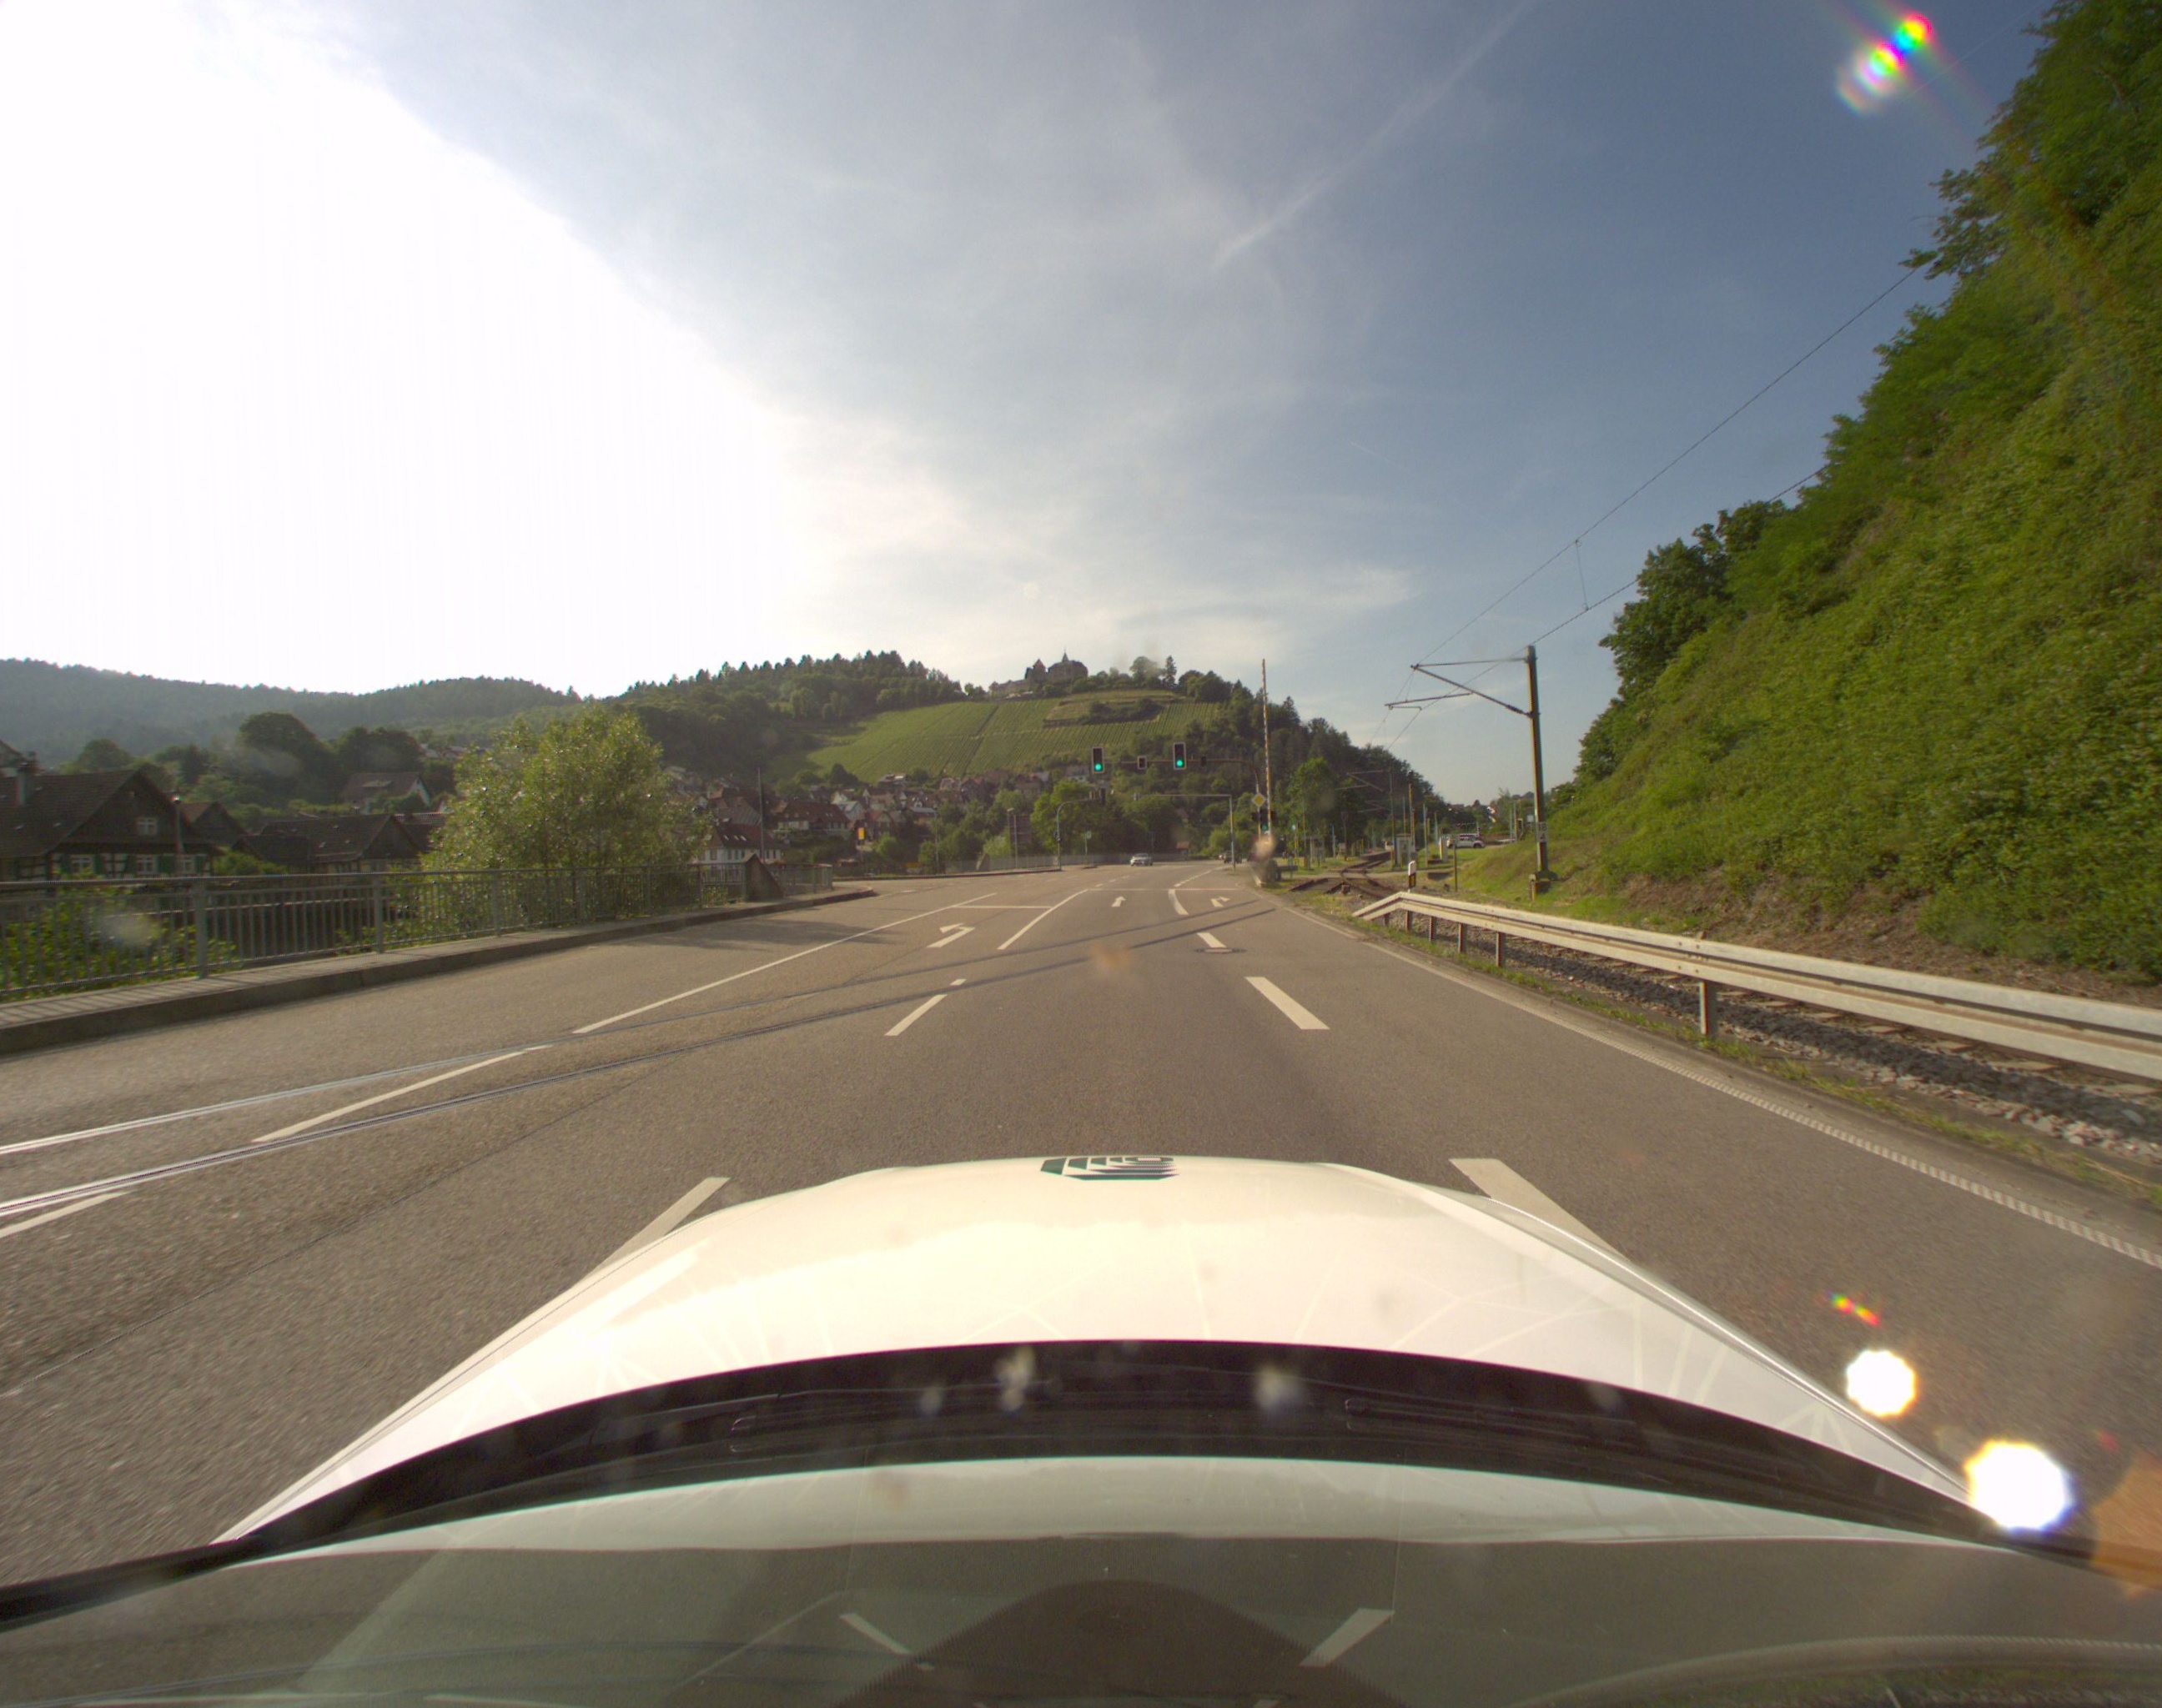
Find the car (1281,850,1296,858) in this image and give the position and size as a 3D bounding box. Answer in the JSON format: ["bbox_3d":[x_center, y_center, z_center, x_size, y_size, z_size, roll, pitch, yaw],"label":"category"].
[{"bbox_3d":[37.686,-0.035,147.902,1.790,1.453,3.668,-4,-1,25],"label":"car"}]

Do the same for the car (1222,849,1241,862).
[{"bbox_3d":[17.893,0.160,96.803,1.714,1.457,3.427,-3,-1,19],"label":"car"}]

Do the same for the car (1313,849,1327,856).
[{"bbox_3d":[49.360,-0.290,168.221,1.791,1.408,3.797,-4,-1,29],"label":"car"}]

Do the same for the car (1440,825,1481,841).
[{"bbox_3d":[50.712,-2.807,108.896,4.907,1.943,2.153,-2,0,23],"label":"car"}]

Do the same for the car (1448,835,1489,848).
[{"bbox_3d":[44.045,-1.404,92.616,4.059,1.398,1.820,-2,0,23],"label":"car"}]

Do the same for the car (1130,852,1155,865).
[{"bbox_3d":[6.363,0.443,84.458,1.632,1.231,4.113,-1,0,18],"label":"car"}]

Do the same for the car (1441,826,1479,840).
[{"bbox_3d":[53.840,-2.987,115.749,4.907,1.690,1.947,-2,0,23],"label":"car"}]

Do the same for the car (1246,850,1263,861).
[{"bbox_3d":[24.857,0.241,116.705,1.824,1.459,3.732,-3,-1,20],"label":"car"}]
